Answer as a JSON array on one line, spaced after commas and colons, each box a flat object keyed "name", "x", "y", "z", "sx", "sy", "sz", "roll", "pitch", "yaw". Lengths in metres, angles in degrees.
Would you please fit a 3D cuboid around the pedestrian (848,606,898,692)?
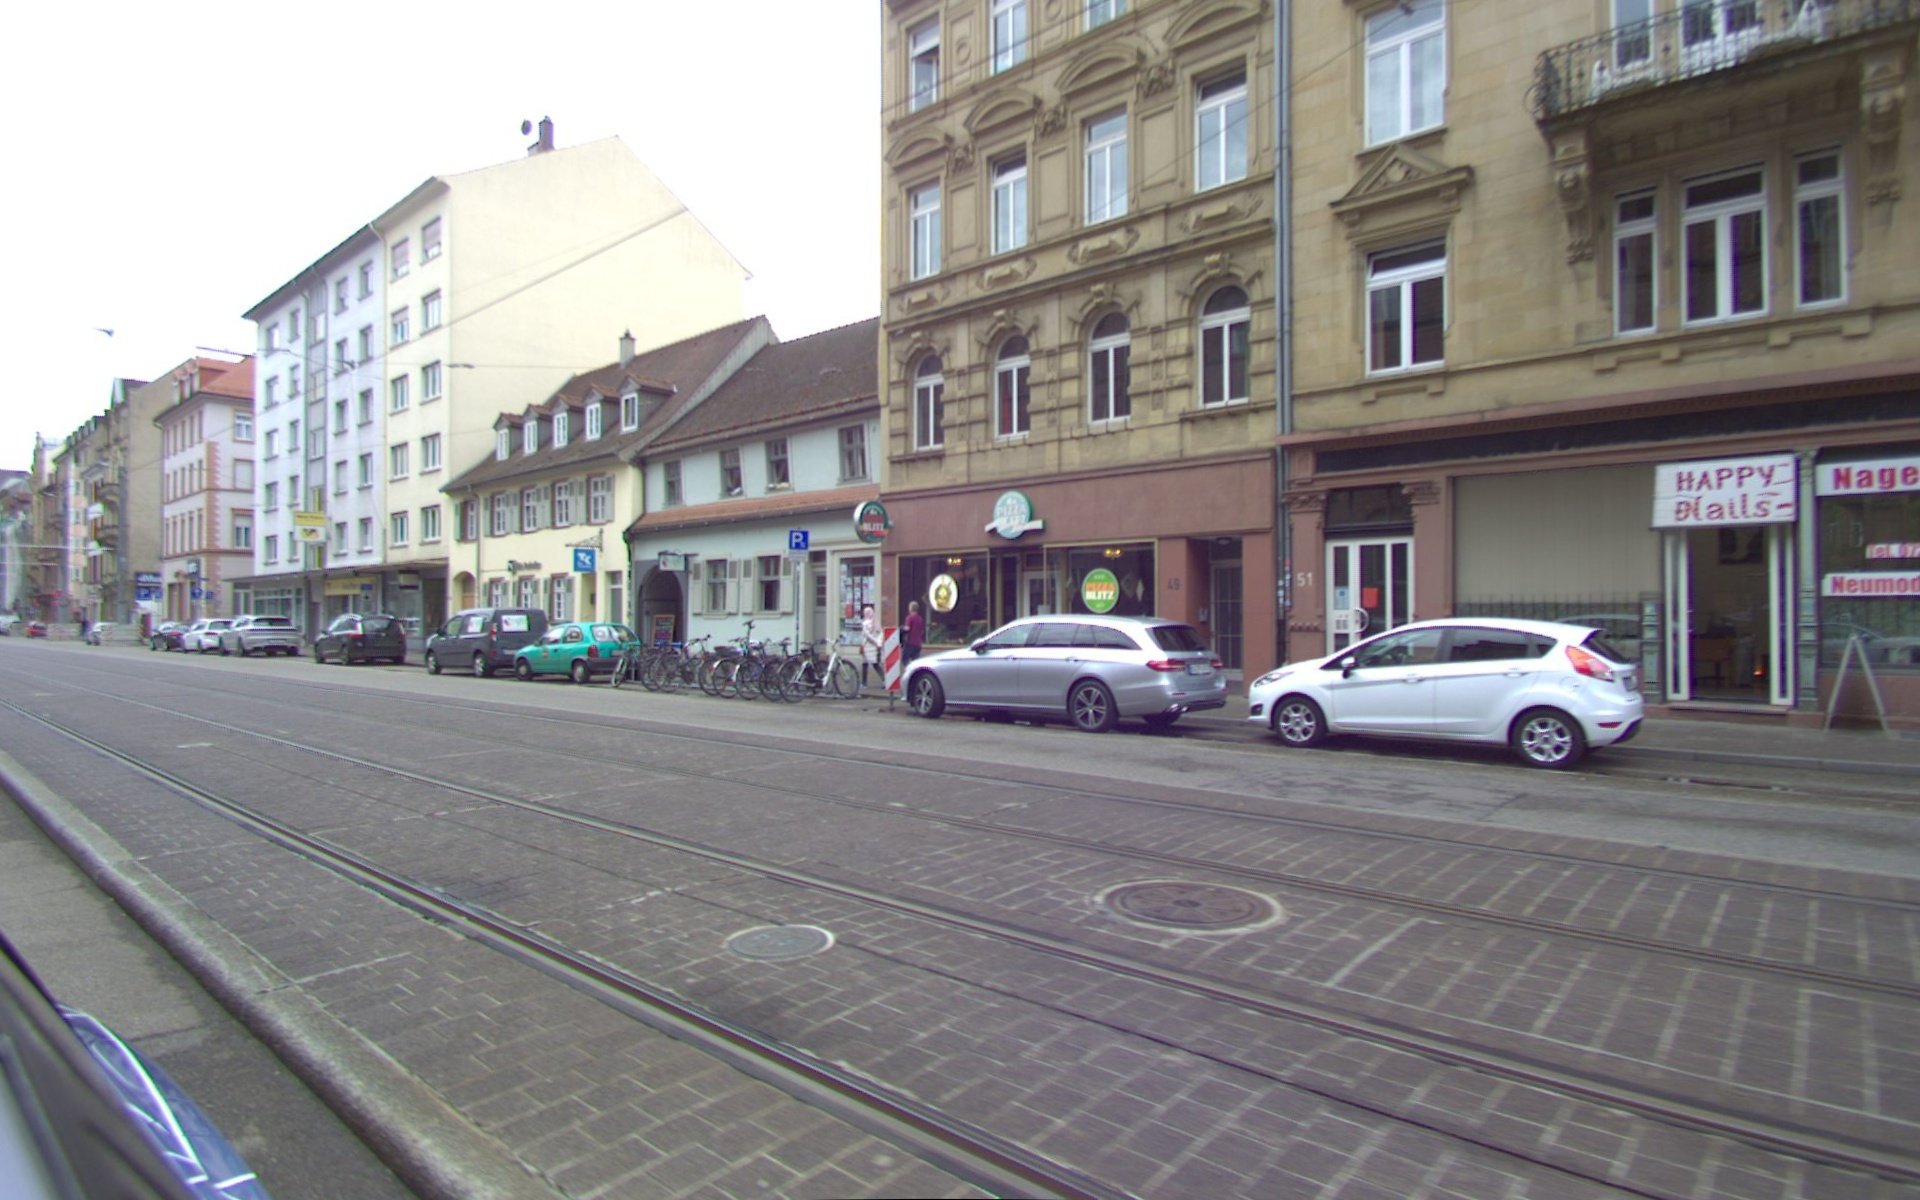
[{"name": "pedestrian", "x": -1.701, "y": 0.947, "z": 19.753, "sx": 0.727, "sy": 1.629, "sz": 0.648, "roll": -1, "pitch": 0, "yaw": 41}]

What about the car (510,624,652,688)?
[{"name": "car", "x": -9.050, "y": 1.298, "z": 24.062, "sx": 3.432, "sy": 1.391, "sz": 1.631, "roll": -2, "pitch": -3, "yaw": 39}]

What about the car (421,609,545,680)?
[{"name": "car", "x": -12.853, "y": 1.162, "z": 27.166, "sx": 3.920, "sy": 1.770, "sz": 1.684, "roll": -1, "pitch": -2, "yaw": 43}]

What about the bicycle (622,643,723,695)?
[{"name": "bicycle", "x": -5.977, "y": 1.409, "z": 21.156, "sx": 0.556, "sy": 0.940, "sz": 2.100, "roll": -1, "pitch": 0, "yaw": 39}]

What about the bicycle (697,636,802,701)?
[{"name": "bicycle", "x": -3.979, "y": 1.277, "z": 19.258, "sx": 0.557, "sy": 1.106, "sz": 2.017, "roll": -1, "pitch": 0, "yaw": 42}]

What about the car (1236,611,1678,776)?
[{"name": "car", "x": 5.286, "y": 0.899, "z": 11.083, "sx": 4.044, "sy": 1.476, "sz": 1.725, "roll": -1, "pitch": -3, "yaw": 41}]

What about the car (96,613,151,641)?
[{"name": "car", "x": -49.119, "y": 1.563, "z": 59.410, "sx": 3.999, "sy": 1.574, "sz": 1.843, "roll": -1, "pitch": -3, "yaw": 42}]

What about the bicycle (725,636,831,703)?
[{"name": "bicycle", "x": -3.354, "y": 1.269, "z": 18.837, "sx": 0.557, "sy": 1.106, "sz": 2.017, "roll": -1, "pitch": 0, "yaw": 42}]

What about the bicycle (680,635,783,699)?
[{"name": "bicycle", "x": -4.435, "y": 1.283, "z": 19.754, "sx": 0.557, "sy": 1.106, "sz": 2.017, "roll": -1, "pitch": 0, "yaw": 42}]

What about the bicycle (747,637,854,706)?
[{"name": "bicycle", "x": -2.873, "y": 1.263, "z": 18.374, "sx": 0.557, "sy": 1.106, "sz": 2.017, "roll": -1, "pitch": 0, "yaw": 42}]

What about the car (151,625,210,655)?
[{"name": "car", "x": -38.376, "y": 1.932, "z": 49.789, "sx": 3.245, "sy": 1.353, "sz": 1.710, "roll": -1, "pitch": 0, "yaw": 41}]

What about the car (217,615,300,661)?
[{"name": "car", "x": -28.546, "y": 1.500, "z": 41.147, "sx": 3.825, "sy": 1.745, "sz": 1.903, "roll": -1, "pitch": 0, "yaw": 41}]

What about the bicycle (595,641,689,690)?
[{"name": "bicycle", "x": -6.991, "y": 1.422, "z": 22.339, "sx": 0.556, "sy": 0.940, "sz": 2.019, "roll": -1, "pitch": 0, "yaw": 39}]

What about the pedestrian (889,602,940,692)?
[{"name": "pedestrian", "x": -0.910, "y": 0.918, "z": 20.157, "sx": 0.753, "sy": 1.725, "sz": 0.648, "roll": -1, "pitch": 0, "yaw": 41}]

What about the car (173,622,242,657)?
[{"name": "car", "x": -33.872, "y": 1.751, "z": 45.530, "sx": 3.825, "sy": 1.462, "sz": 1.710, "roll": -1, "pitch": 0, "yaw": 41}]

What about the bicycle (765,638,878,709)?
[{"name": "bicycle", "x": -2.401, "y": 1.256, "z": 17.827, "sx": 0.557, "sy": 1.106, "sz": 2.111, "roll": -1, "pitch": 0, "yaw": 42}]

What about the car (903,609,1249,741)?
[{"name": "car", "x": 1.447, "y": 0.947, "z": 13.920, "sx": 4.543, "sy": 1.533, "sz": 1.805, "roll": -2, "pitch": -3, "yaw": 42}]

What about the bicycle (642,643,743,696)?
[{"name": "bicycle", "x": -5.444, "y": 1.402, "z": 20.689, "sx": 0.557, "sy": 0.940, "sz": 2.017, "roll": -1, "pitch": 0, "yaw": 43}]

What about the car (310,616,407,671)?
[{"name": "car", "x": -20.195, "y": 1.402, "z": 33.919, "sx": 4.181, "sy": 1.684, "sz": 1.682, "roll": -1, "pitch": 0, "yaw": 43}]
